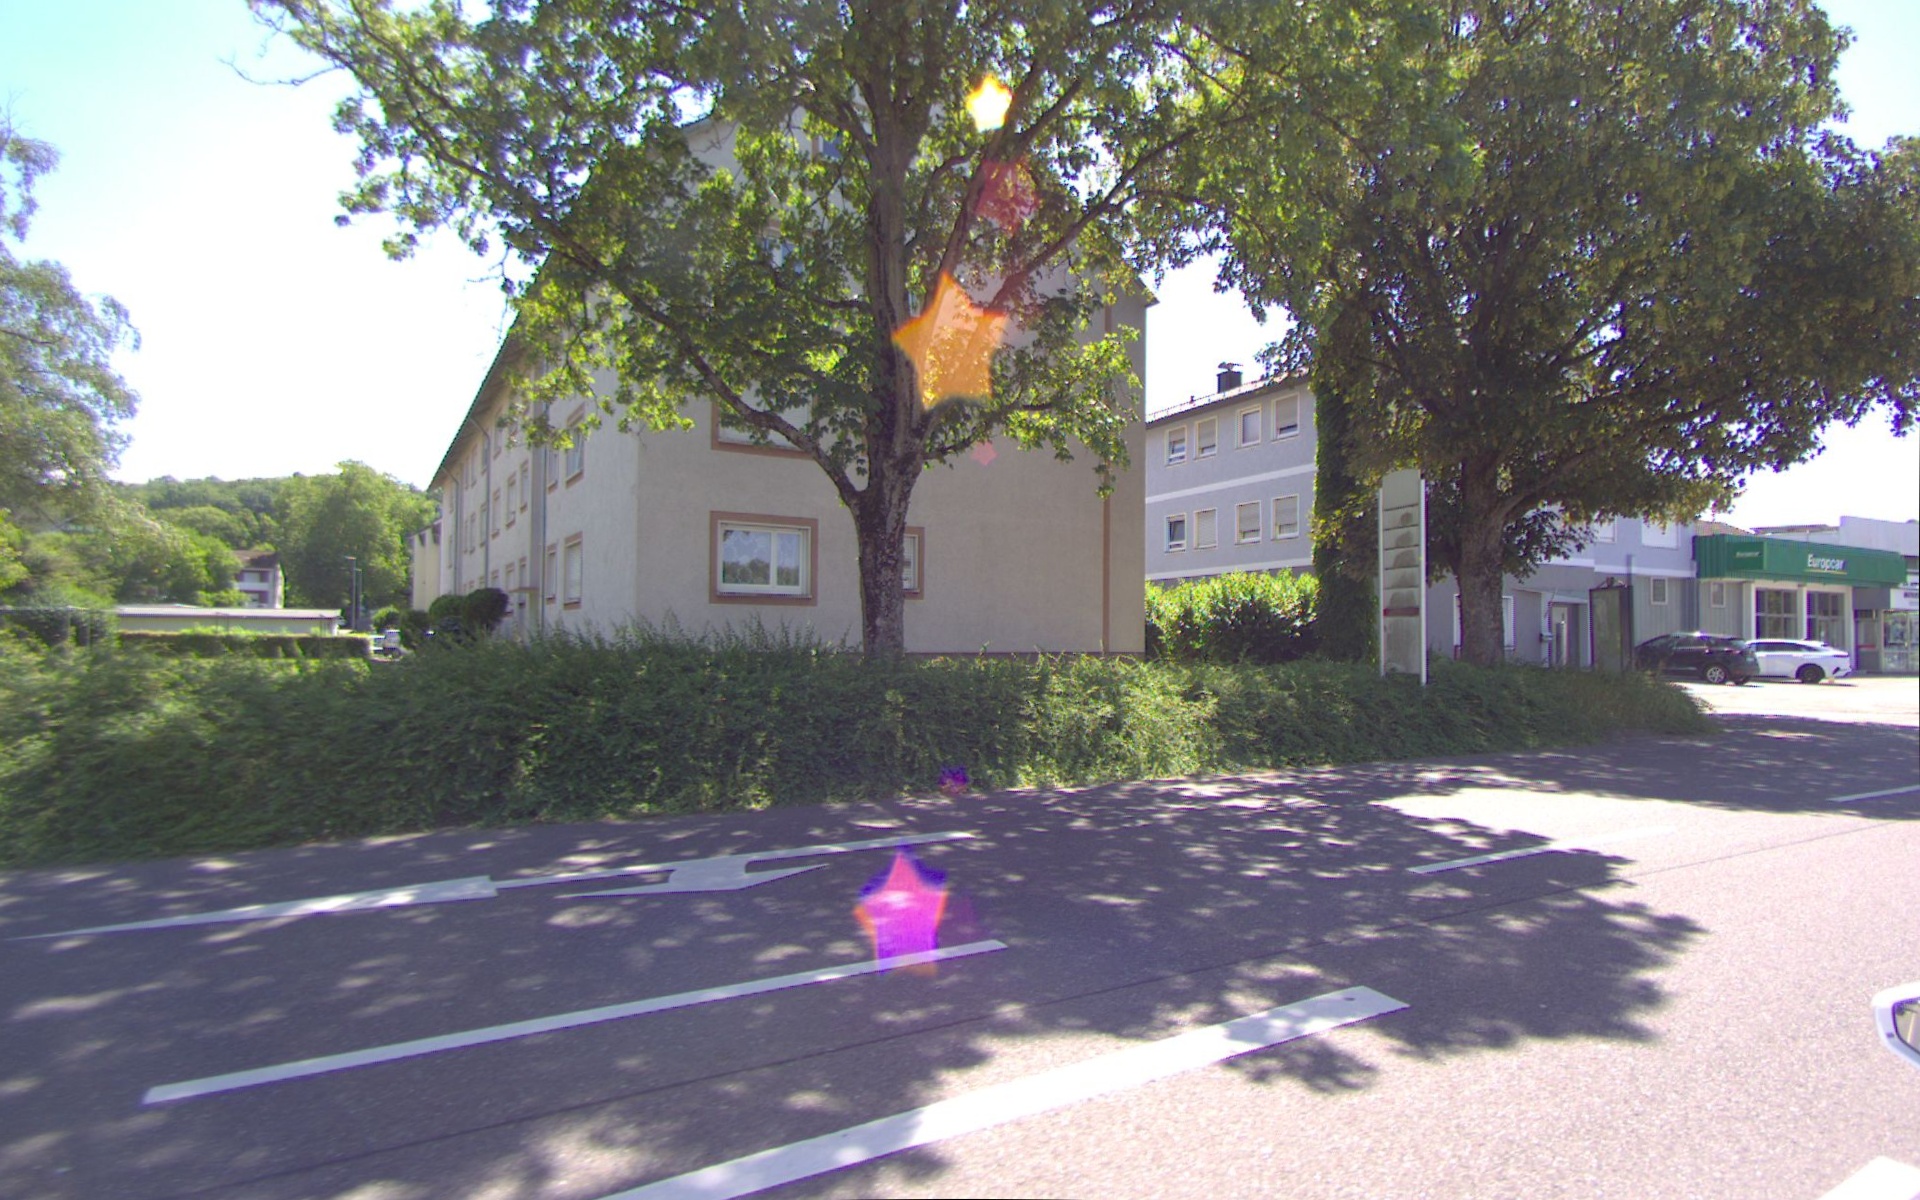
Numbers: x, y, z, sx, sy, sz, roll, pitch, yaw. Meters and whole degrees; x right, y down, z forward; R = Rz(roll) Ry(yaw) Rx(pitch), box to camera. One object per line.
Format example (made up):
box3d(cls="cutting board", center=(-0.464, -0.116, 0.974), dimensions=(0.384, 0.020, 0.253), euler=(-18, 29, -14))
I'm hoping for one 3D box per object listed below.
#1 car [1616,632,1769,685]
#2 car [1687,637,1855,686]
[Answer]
box3d(cls="car", center=(23.637, 1.844, 32.510), dimensions=(1.946, 1.585, 3.545), euler=(2, -2, -29))
box3d(cls="car", center=(27.235, 2.023, 33.888), dimensions=(4.288, 1.458, 1.932), euler=(0, -2, 39))
